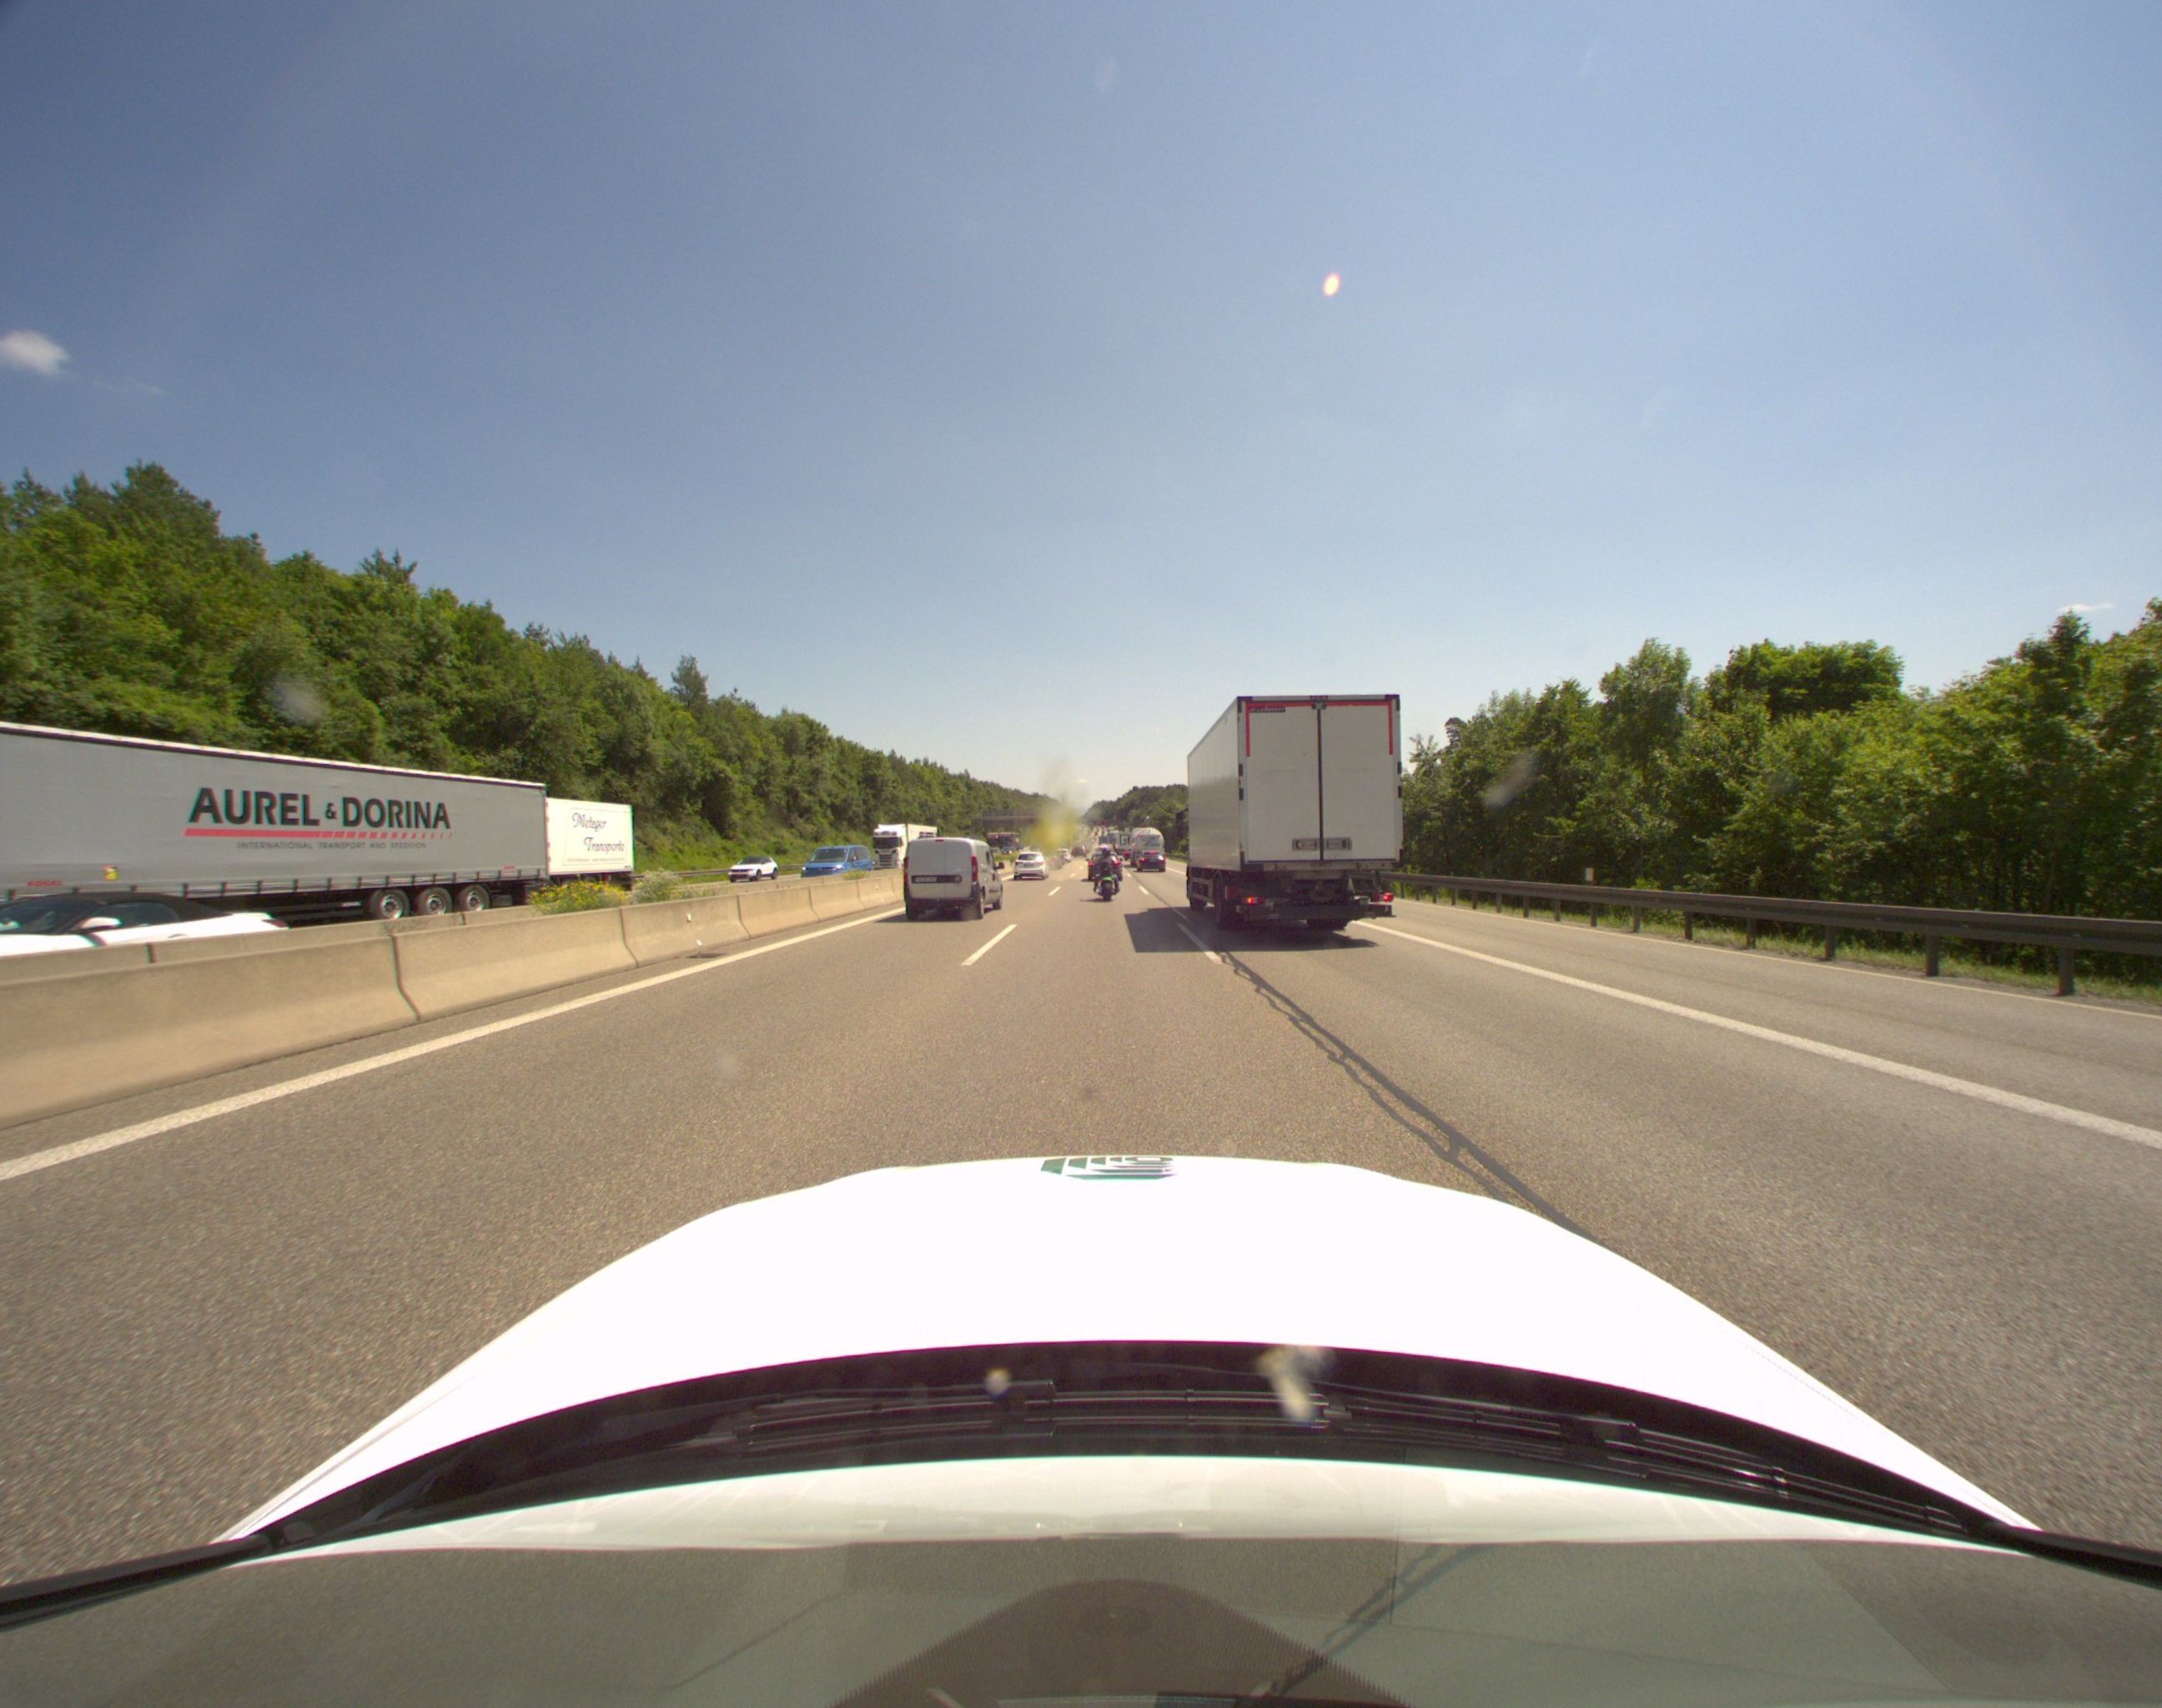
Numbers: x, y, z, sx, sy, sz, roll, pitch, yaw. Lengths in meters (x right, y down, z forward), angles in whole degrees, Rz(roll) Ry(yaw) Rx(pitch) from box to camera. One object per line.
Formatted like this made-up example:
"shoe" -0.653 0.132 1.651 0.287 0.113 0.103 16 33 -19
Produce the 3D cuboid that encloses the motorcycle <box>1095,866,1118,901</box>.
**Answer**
"motorcycle" 0.821 0.895 25.553 0.688 1.015 2.123 0 0 3

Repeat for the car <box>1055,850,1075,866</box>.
"car" -1.506 0.383 77.490 1.693 1.478 4.002 -1 1 2

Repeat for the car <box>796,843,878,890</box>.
"car" -10.648 0.543 35.940 1.905 1.847 5.038 -3 0 2

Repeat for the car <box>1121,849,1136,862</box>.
"car" 5.947 0.123 101.632 1.780 1.555 3.805 -1 0 2

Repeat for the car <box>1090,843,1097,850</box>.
"car" 3.913 -2.366 250.877 1.986 2.013 4.002 0 0 2

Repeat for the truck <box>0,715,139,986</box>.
"truck" -18.232 -0.026 11.607 2.830 4.214 5.662 -1 0 2

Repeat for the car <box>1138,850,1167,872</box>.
"car" 4.990 0.458 57.034 1.822 1.470 4.002 0 0 2

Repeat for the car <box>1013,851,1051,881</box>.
"car" -2.607 0.621 44.149 1.693 1.478 4.002 -1 1 2

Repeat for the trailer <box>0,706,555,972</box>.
"trailer" -18.114 -0.149 17.988 2.824 4.165 14.745 -3 0 2

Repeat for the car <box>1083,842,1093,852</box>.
"car" 1.451 -1.393 169.748 1.922 2.013 4.002 -3 -1 2

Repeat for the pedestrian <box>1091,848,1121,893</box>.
"pedestrian" 0.800 0.509 25.514 0.846 1.362 0.962 -3 0 2

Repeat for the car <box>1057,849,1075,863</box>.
"car" -1.601 0.208 89.179 1.693 1.478 4.002 -1 1 2

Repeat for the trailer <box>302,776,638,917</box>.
"trailer" -21.490 -0.183 30.376 2.798 4.047 12.627 -2 0 1

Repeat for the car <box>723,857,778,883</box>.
"car" -20.875 0.976 51.640 1.660 1.466 4.191 -1 0 1

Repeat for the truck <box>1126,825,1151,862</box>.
"truck" 5.691 -1.043 81.645 1.988 3.522 4.749 -3 -1 -1

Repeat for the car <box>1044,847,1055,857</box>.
"car" -6.729 -0.370 173.354 1.873 2.013 4.470 -4 -1 2

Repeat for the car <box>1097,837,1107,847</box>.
"car" 5.508 -3.151 214.099 2.495 2.587 5.018 -1 0 2

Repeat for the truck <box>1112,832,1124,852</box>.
"truck" 9.544 -3.082 210.442 3.022 5.139 9.986 0 1 2

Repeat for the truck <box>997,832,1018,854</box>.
"truck" -14.122 -2.049 156.663 2.895 3.974 7.771 -3 -1 1

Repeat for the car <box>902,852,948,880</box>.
"car" -9.921 0.733 51.987 1.899 1.640 4.538 -1 0 1

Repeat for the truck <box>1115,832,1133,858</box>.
"truck" 7.630 -1.624 146.717 3.022 4.542 9.986 0 1 2

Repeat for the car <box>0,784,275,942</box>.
"car" -26.193 0.230 22.817 2.440 3.873 4.567 -3 0 1

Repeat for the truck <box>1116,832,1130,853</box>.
"truck" 9.378 -2.579 182.345 3.022 4.542 9.986 0 1 2

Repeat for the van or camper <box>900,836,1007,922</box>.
"van or camper" -3.010 0.575 20.103 1.788 1.892 4.163 0 0 3

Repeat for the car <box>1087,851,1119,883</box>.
"car" 1.122 0.614 42.163 1.527 1.510 4.001 -3 0 1

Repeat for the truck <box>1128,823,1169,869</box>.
"truck" 5.893 -0.632 72.721 2.977 3.671 9.291 -3 0 2

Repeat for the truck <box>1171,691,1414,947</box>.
"truck" 3.859 -0.562 17.679 2.679 3.876 9.781 -3 0 1

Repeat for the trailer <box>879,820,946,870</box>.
"trailer" -16.151 -0.752 79.382 2.791 4.338 14.046 -2 0 3

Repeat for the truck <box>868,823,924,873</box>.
"truck" -16.458 -0.471 72.922 2.791 4.165 7.605 -2 -1 3

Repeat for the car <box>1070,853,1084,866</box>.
"car" -0.621 0.837 133.552 1.986 2.013 4.002 -3 -1 2

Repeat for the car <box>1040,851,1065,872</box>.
"car" -2.194 0.566 63.525 1.693 1.478 4.002 -1 1 2

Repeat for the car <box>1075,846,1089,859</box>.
"car" 0.125 -0.277 119.903 1.873 1.859 4.002 0 0 2

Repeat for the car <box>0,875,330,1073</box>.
"car" -11.105 1.211 8.883 1.986 1.794 4.001 -3 0 1
